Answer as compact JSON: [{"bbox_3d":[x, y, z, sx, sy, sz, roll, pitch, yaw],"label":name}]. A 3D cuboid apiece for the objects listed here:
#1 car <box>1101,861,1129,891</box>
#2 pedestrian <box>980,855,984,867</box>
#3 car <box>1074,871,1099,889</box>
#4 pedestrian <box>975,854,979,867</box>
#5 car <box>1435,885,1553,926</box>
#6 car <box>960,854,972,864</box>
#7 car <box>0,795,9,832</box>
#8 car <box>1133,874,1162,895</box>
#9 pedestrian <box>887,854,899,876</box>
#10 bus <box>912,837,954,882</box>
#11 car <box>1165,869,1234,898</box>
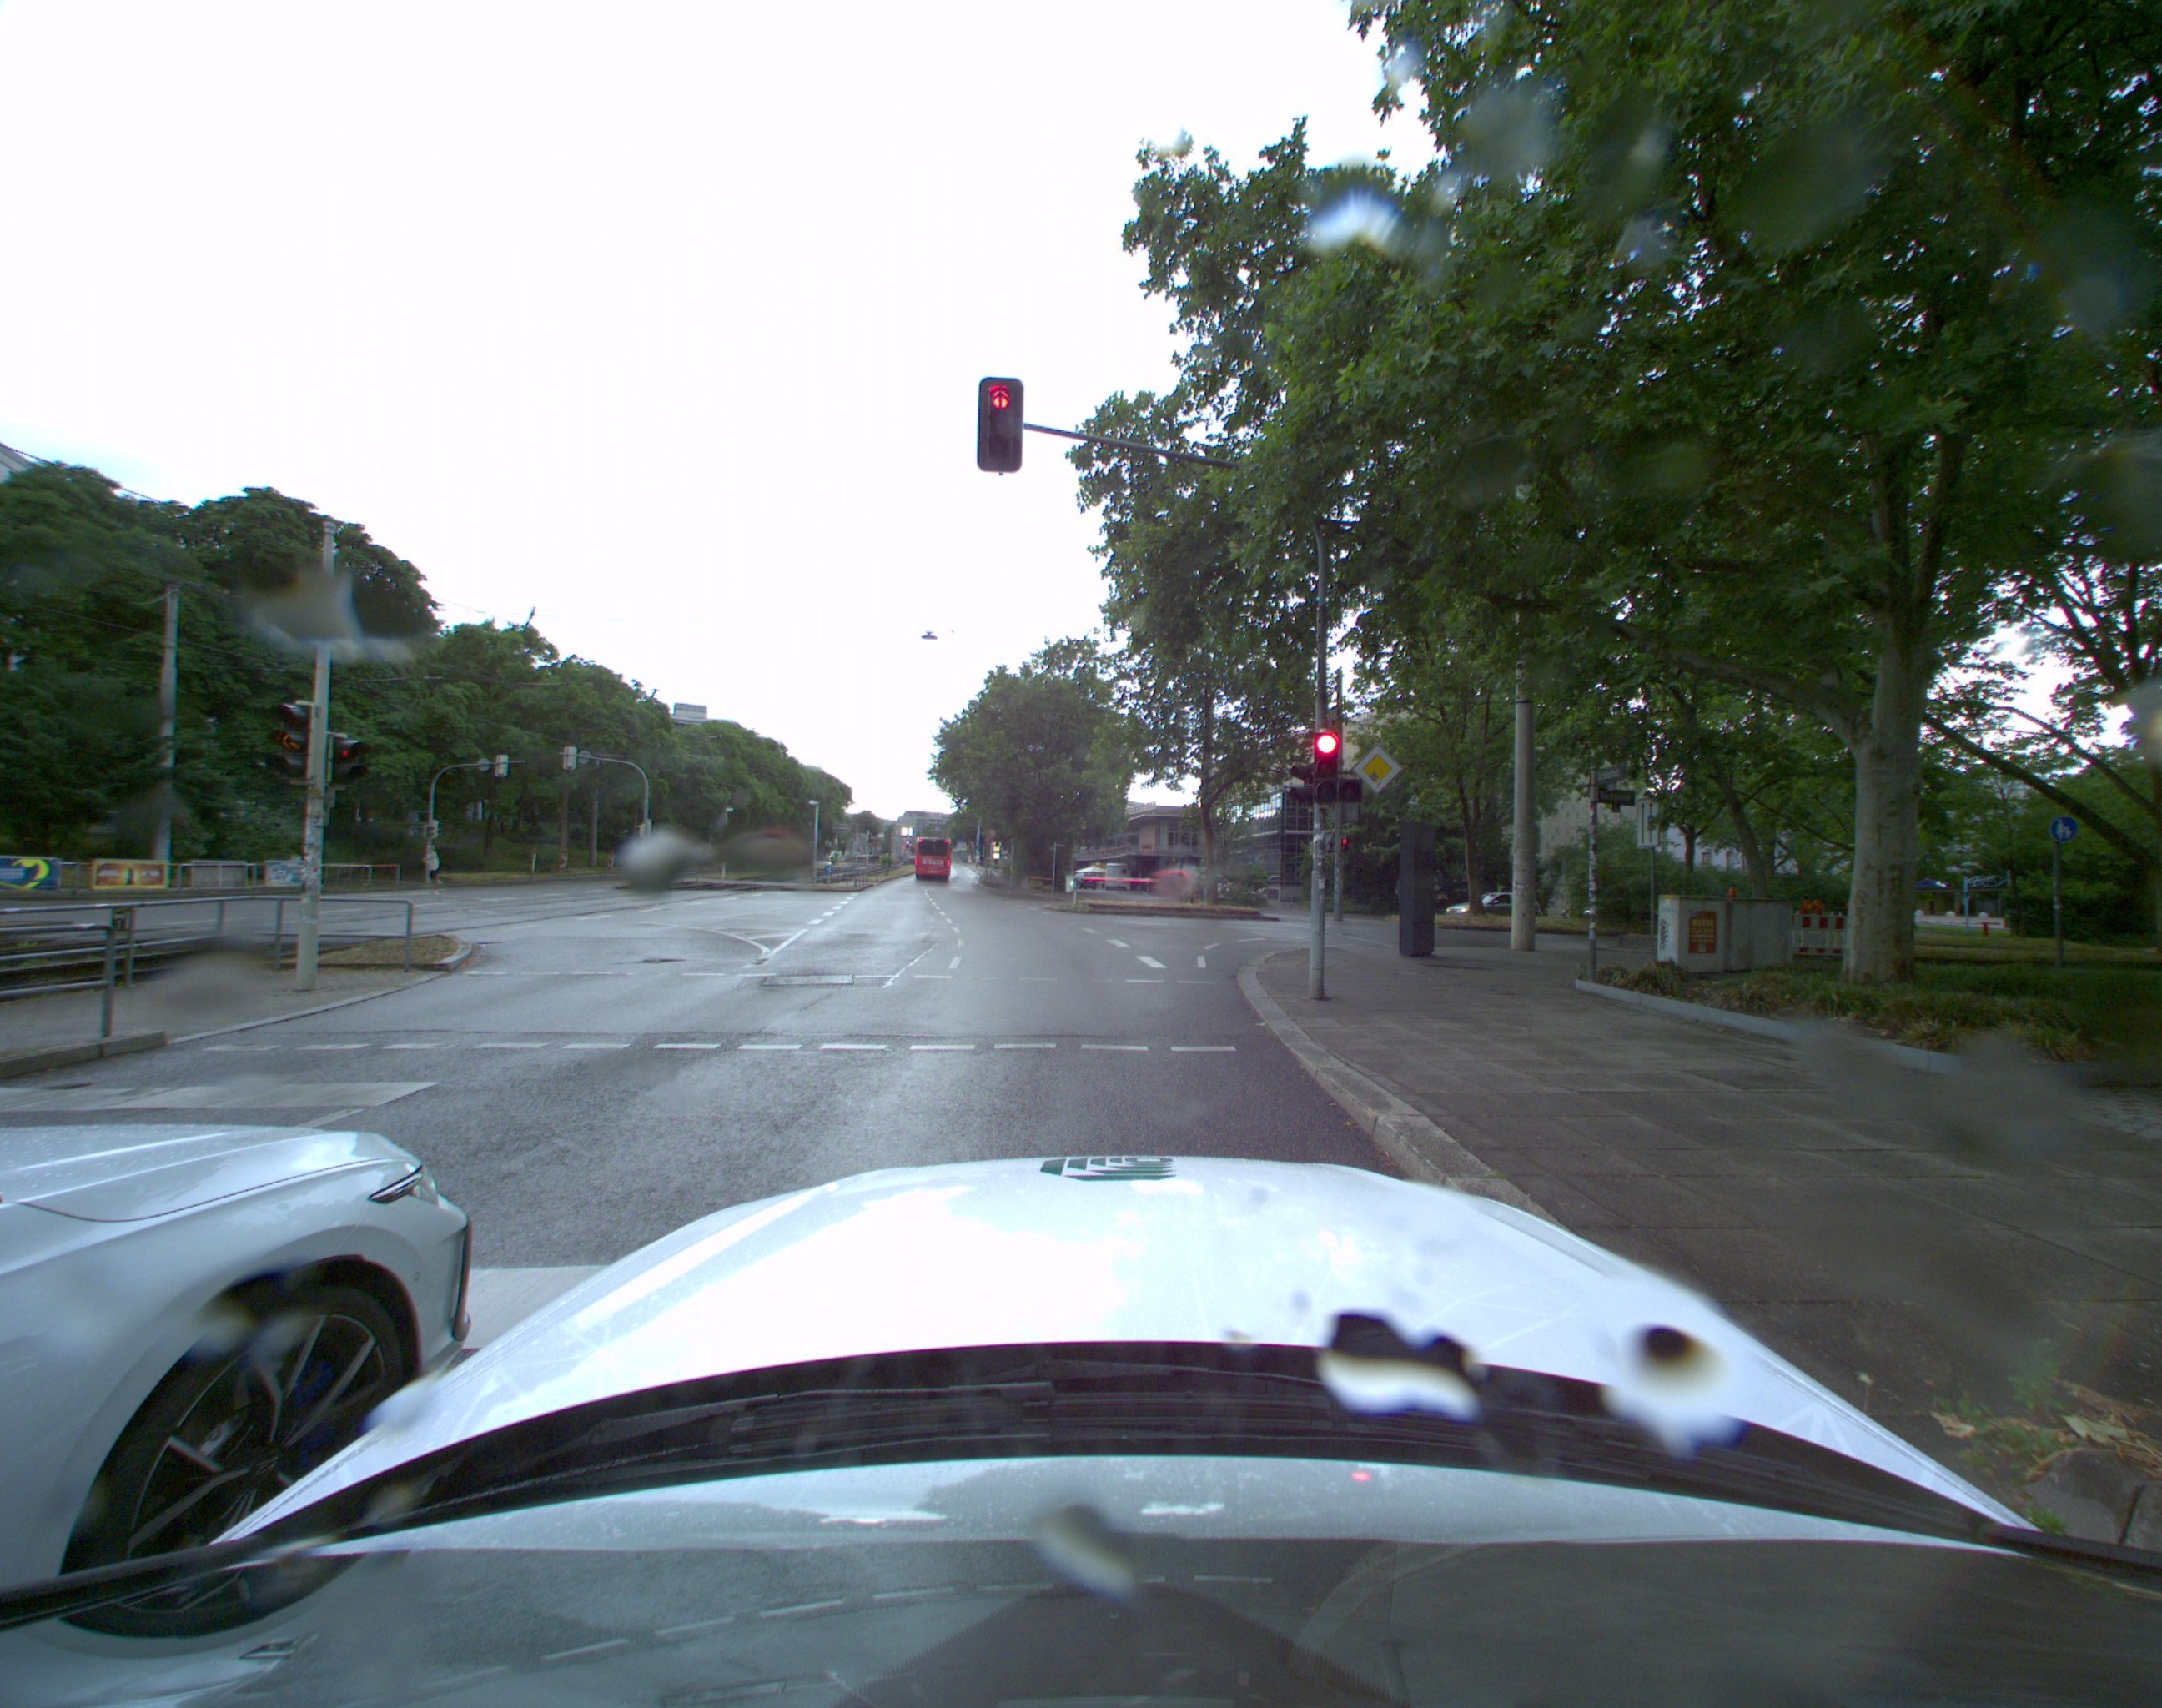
[{"bbox_3d":[3.768,2.407,90.609,2.539,3.134,5.024,3,-2,-3],"label":"car"},{"bbox_3d":[-13.075,0.909,107.473,0.370,1.525,0.344,2,-1,1],"label":"pedestrian"},{"bbox_3d":[0.522,2.805,88.056,1.993,1.860,3.987,3,-2,-9],"label":"car"},{"bbox_3d":[-13.688,0.838,106.863,0.370,1.708,0.644,2,-1,2],"label":"pedestrian"},{"bbox_3d":[17.317,2.157,34.265,3.980,1.442,1.997,3,-2,-5],"label":"car"},{"bbox_3d":[-20.980,0.921,148.571,1.995,1.684,3.984,3,-2,-12],"label":"car"},{"bbox_3d":[-52.935,-2.015,37.900,2.005,1.794,4.172,4,-2,-28],"label":"car"},{"bbox_3d":[6.893,3.180,84.408,1.994,2.014,3.985,3,-2,-10],"label":"car"},{"bbox_3d":[-14.463,0.815,62.692,0.738,1.640,0.867,3,-2,-11],"label":"pedestrian"},{"bbox_3d":[-11.624,0.438,63.362,2.657,3.111,9.144,3,-2,-12],"label":"bus"},{"bbox_3d":[8.988,2.231,61.957,4.762,1.943,1.986,3,-2,-20],"label":"car"}]
